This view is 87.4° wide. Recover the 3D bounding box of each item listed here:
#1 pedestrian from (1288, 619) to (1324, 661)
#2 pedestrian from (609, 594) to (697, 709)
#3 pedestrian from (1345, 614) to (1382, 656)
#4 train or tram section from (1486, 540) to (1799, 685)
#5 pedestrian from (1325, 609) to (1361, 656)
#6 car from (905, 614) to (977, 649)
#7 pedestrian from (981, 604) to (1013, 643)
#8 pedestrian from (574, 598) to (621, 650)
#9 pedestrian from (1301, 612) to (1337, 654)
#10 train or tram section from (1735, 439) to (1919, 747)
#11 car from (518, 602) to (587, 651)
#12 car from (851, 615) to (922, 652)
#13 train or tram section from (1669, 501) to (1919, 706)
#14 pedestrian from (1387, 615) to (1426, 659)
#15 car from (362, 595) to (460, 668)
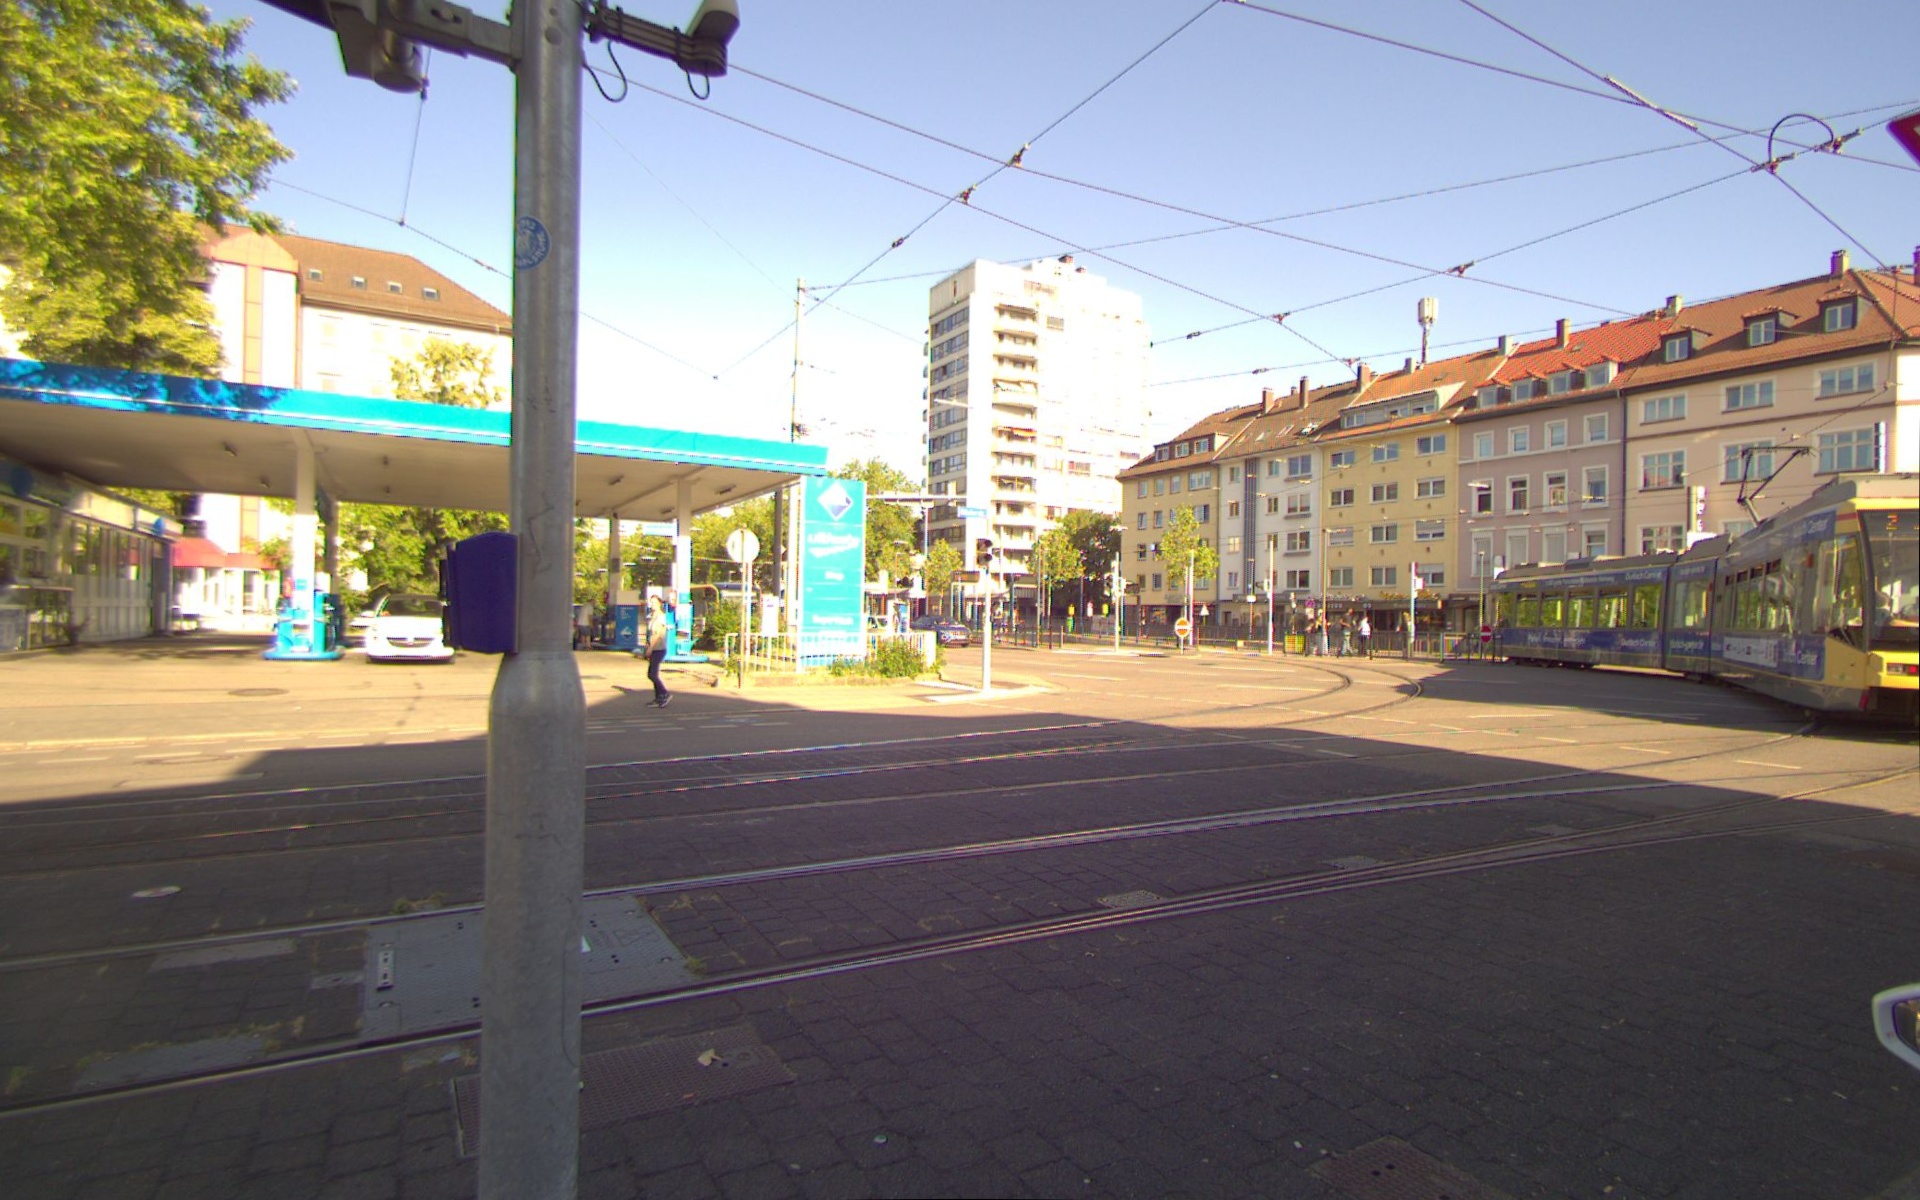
[{"bbox_3d":[13.646,1.582,39.660,0.999,1.619,0.932,1,0,-35],"label":"pedestrian"},{"bbox_3d":[-4.568,0.758,14.957,1.095,1.640,0.709,1,-2,-34],"label":"pedestrian"},{"bbox_3d":[15.752,1.357,39.252,0.925,1.619,1.007,1,-1,-13],"label":"pedestrian"},{"bbox_3d":[20.007,0.395,30.858,2.723,3.546,12.037,1,-1,7],"label":"train or tram section"},{"bbox_3d":[14.692,1.237,38.513,1.002,1.798,0.930,2,-1,-42],"label":"pedestrian"},{"bbox_3d":[-0.972,1.472,48.250,1.863,1.601,3.971,1,-1,-28],"label":"car"},{"bbox_3d":[1.810,1.172,49.717,1.156,1.870,1.098,2,-1,-28],"label":"pedestrian"},{"bbox_3d":[-11.587,0.761,32.122,1.140,1.647,0.813,0,-1,16],"label":"pedestrian"},{"bbox_3d":[14.352,1.314,40.184,0.998,1.619,0.933,1,-1,-32],"label":"pedestrian"},{"bbox_3d":[13.561,-0.005,14.680,2.775,3.546,7.942,0,-1,32],"label":"train or tram section"},{"bbox_3d":[-13.445,0.842,33.016,1.725,1.431,4.061,5,-2,-26],"label":"car"},{"bbox_3d":[-3.471,1.532,46.738,1.863,1.601,3.971,1,-1,-28],"label":"car"},{"bbox_3d":[17.609,0.132,21.673,2.773,3.546,8.448,0,-1,29],"label":"train or tram section"},{"bbox_3d":[16.613,1.373,37.360,0.924,1.619,1.008,1,-1,-8],"label":"pedestrian"},{"bbox_3d":[-12.333,0.680,22.538,1.760,1.483,3.968,1,-1,-30],"label":"car"}]
